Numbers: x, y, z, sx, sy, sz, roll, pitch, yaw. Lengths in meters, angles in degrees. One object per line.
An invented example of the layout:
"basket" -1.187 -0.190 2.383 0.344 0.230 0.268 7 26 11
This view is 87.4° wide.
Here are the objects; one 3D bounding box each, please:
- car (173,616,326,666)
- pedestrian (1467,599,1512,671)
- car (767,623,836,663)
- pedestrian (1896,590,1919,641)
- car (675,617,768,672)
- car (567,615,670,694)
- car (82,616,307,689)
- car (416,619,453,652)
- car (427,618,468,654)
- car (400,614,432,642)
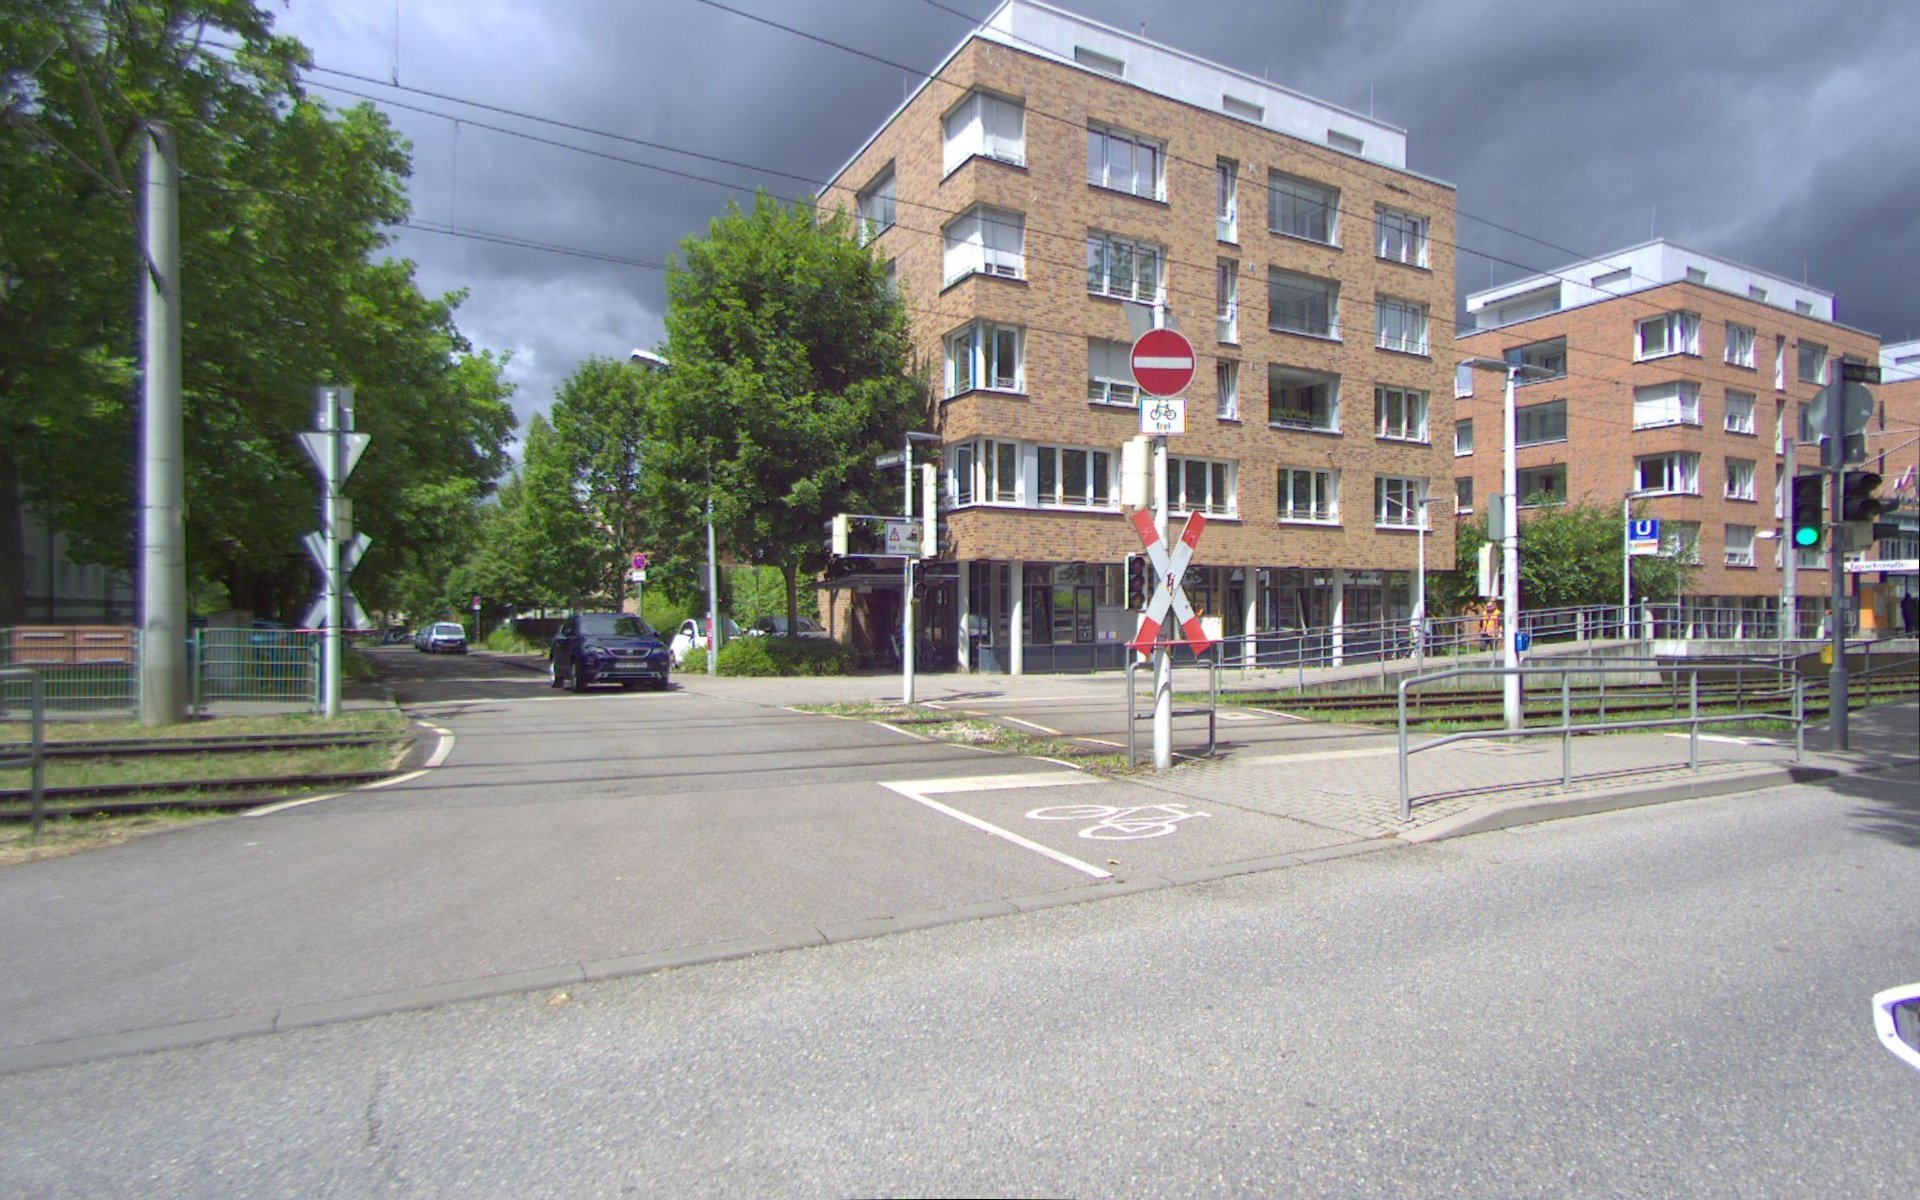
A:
"car" -23.833 1.355 33.792 4.073 1.576 1.841 2 -2 -37
"pedestrian" 13.935 0.901 26.452 0.819 1.849 0.740 0 0 -30
"car" -4.673 1.235 29.444 1.135 1.134 2.640 1 -2 -31
"pedestrian" 33.056 0.539 35.016 0.522 1.787 0.531 1 -1 -32
"car" -6.739 1.195 28.160 1.576 1.418 3.513 1 -1 -31
"car" -7.178 1.129 20.924 1.567 1.495 3.661 1 -3 -26
"car" -17.973 1.210 23.798 4.073 1.576 1.841 2 -2 -37
"car" -32.547 2.152 62.168 1.772 1.947 4.027 1 -1 -32
"car" -29.207 2.021 57.209 1.772 1.947 4.027 1 -1 -32
"car" -38.810 1.969 71.593 1.772 1.947 4.027 1 -1 -32
